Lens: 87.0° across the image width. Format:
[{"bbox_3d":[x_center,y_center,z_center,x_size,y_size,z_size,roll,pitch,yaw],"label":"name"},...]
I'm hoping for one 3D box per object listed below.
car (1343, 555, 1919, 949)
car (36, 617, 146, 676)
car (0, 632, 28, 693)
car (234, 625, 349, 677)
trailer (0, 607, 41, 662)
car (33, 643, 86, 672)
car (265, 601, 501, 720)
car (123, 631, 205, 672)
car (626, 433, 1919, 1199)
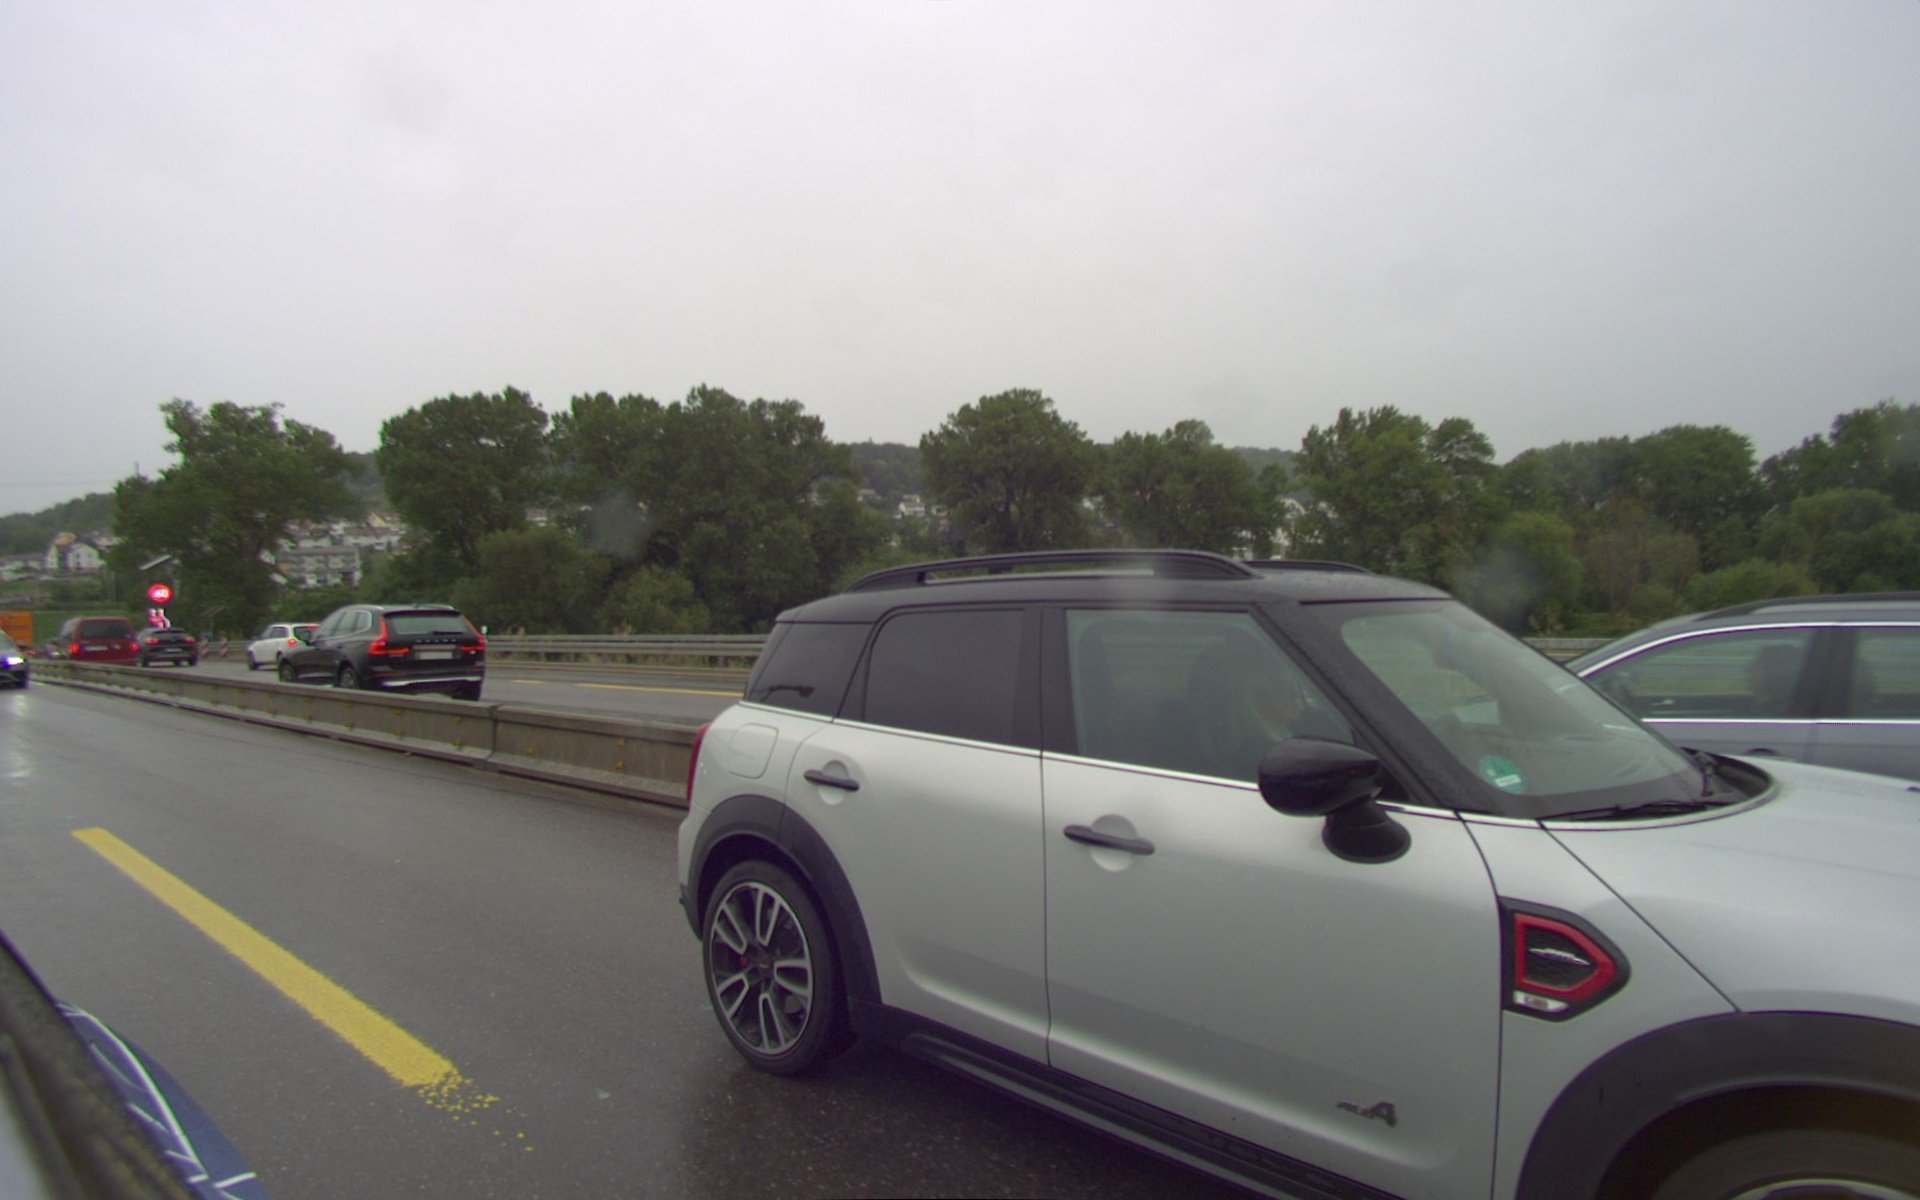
[{"bbox_3d":[4.019,0.561,4.482,3.997,1.464,1.692,-2,-1,41],"label":"car"},{"bbox_3d":[-27.767,1.513,32.279,4.839,1.762,1.827,-3,-4,39],"label":"car"},{"bbox_3d":[-24.967,1.562,25.342,4.481,1.449,1.926,-2,-1,41],"label":"car"},{"bbox_3d":[-22.042,1.693,33.337,4.263,1.589,1.828,-3,-4,37],"label":"car"},{"bbox_3d":[-74.577,2.793,78.577,13.692,3.938,3.243,-3,-2,41],"label":"trailer"},{"bbox_3d":[-52.249,3.279,58.683,4.304,1.522,1.799,-2,-1,41],"label":"car"},{"bbox_3d":[-9.482,0.921,16.490,4.467,1.668,1.973,-2,-2,41],"label":"car"},{"bbox_3d":[-31.746,2.047,40.343,3.997,1.508,1.802,-4,-2,40],"label":"car"},{"bbox_3d":[1.029,0.607,2.849,4.306,1.612,1.797,-3,-1,41],"label":"car"}]
